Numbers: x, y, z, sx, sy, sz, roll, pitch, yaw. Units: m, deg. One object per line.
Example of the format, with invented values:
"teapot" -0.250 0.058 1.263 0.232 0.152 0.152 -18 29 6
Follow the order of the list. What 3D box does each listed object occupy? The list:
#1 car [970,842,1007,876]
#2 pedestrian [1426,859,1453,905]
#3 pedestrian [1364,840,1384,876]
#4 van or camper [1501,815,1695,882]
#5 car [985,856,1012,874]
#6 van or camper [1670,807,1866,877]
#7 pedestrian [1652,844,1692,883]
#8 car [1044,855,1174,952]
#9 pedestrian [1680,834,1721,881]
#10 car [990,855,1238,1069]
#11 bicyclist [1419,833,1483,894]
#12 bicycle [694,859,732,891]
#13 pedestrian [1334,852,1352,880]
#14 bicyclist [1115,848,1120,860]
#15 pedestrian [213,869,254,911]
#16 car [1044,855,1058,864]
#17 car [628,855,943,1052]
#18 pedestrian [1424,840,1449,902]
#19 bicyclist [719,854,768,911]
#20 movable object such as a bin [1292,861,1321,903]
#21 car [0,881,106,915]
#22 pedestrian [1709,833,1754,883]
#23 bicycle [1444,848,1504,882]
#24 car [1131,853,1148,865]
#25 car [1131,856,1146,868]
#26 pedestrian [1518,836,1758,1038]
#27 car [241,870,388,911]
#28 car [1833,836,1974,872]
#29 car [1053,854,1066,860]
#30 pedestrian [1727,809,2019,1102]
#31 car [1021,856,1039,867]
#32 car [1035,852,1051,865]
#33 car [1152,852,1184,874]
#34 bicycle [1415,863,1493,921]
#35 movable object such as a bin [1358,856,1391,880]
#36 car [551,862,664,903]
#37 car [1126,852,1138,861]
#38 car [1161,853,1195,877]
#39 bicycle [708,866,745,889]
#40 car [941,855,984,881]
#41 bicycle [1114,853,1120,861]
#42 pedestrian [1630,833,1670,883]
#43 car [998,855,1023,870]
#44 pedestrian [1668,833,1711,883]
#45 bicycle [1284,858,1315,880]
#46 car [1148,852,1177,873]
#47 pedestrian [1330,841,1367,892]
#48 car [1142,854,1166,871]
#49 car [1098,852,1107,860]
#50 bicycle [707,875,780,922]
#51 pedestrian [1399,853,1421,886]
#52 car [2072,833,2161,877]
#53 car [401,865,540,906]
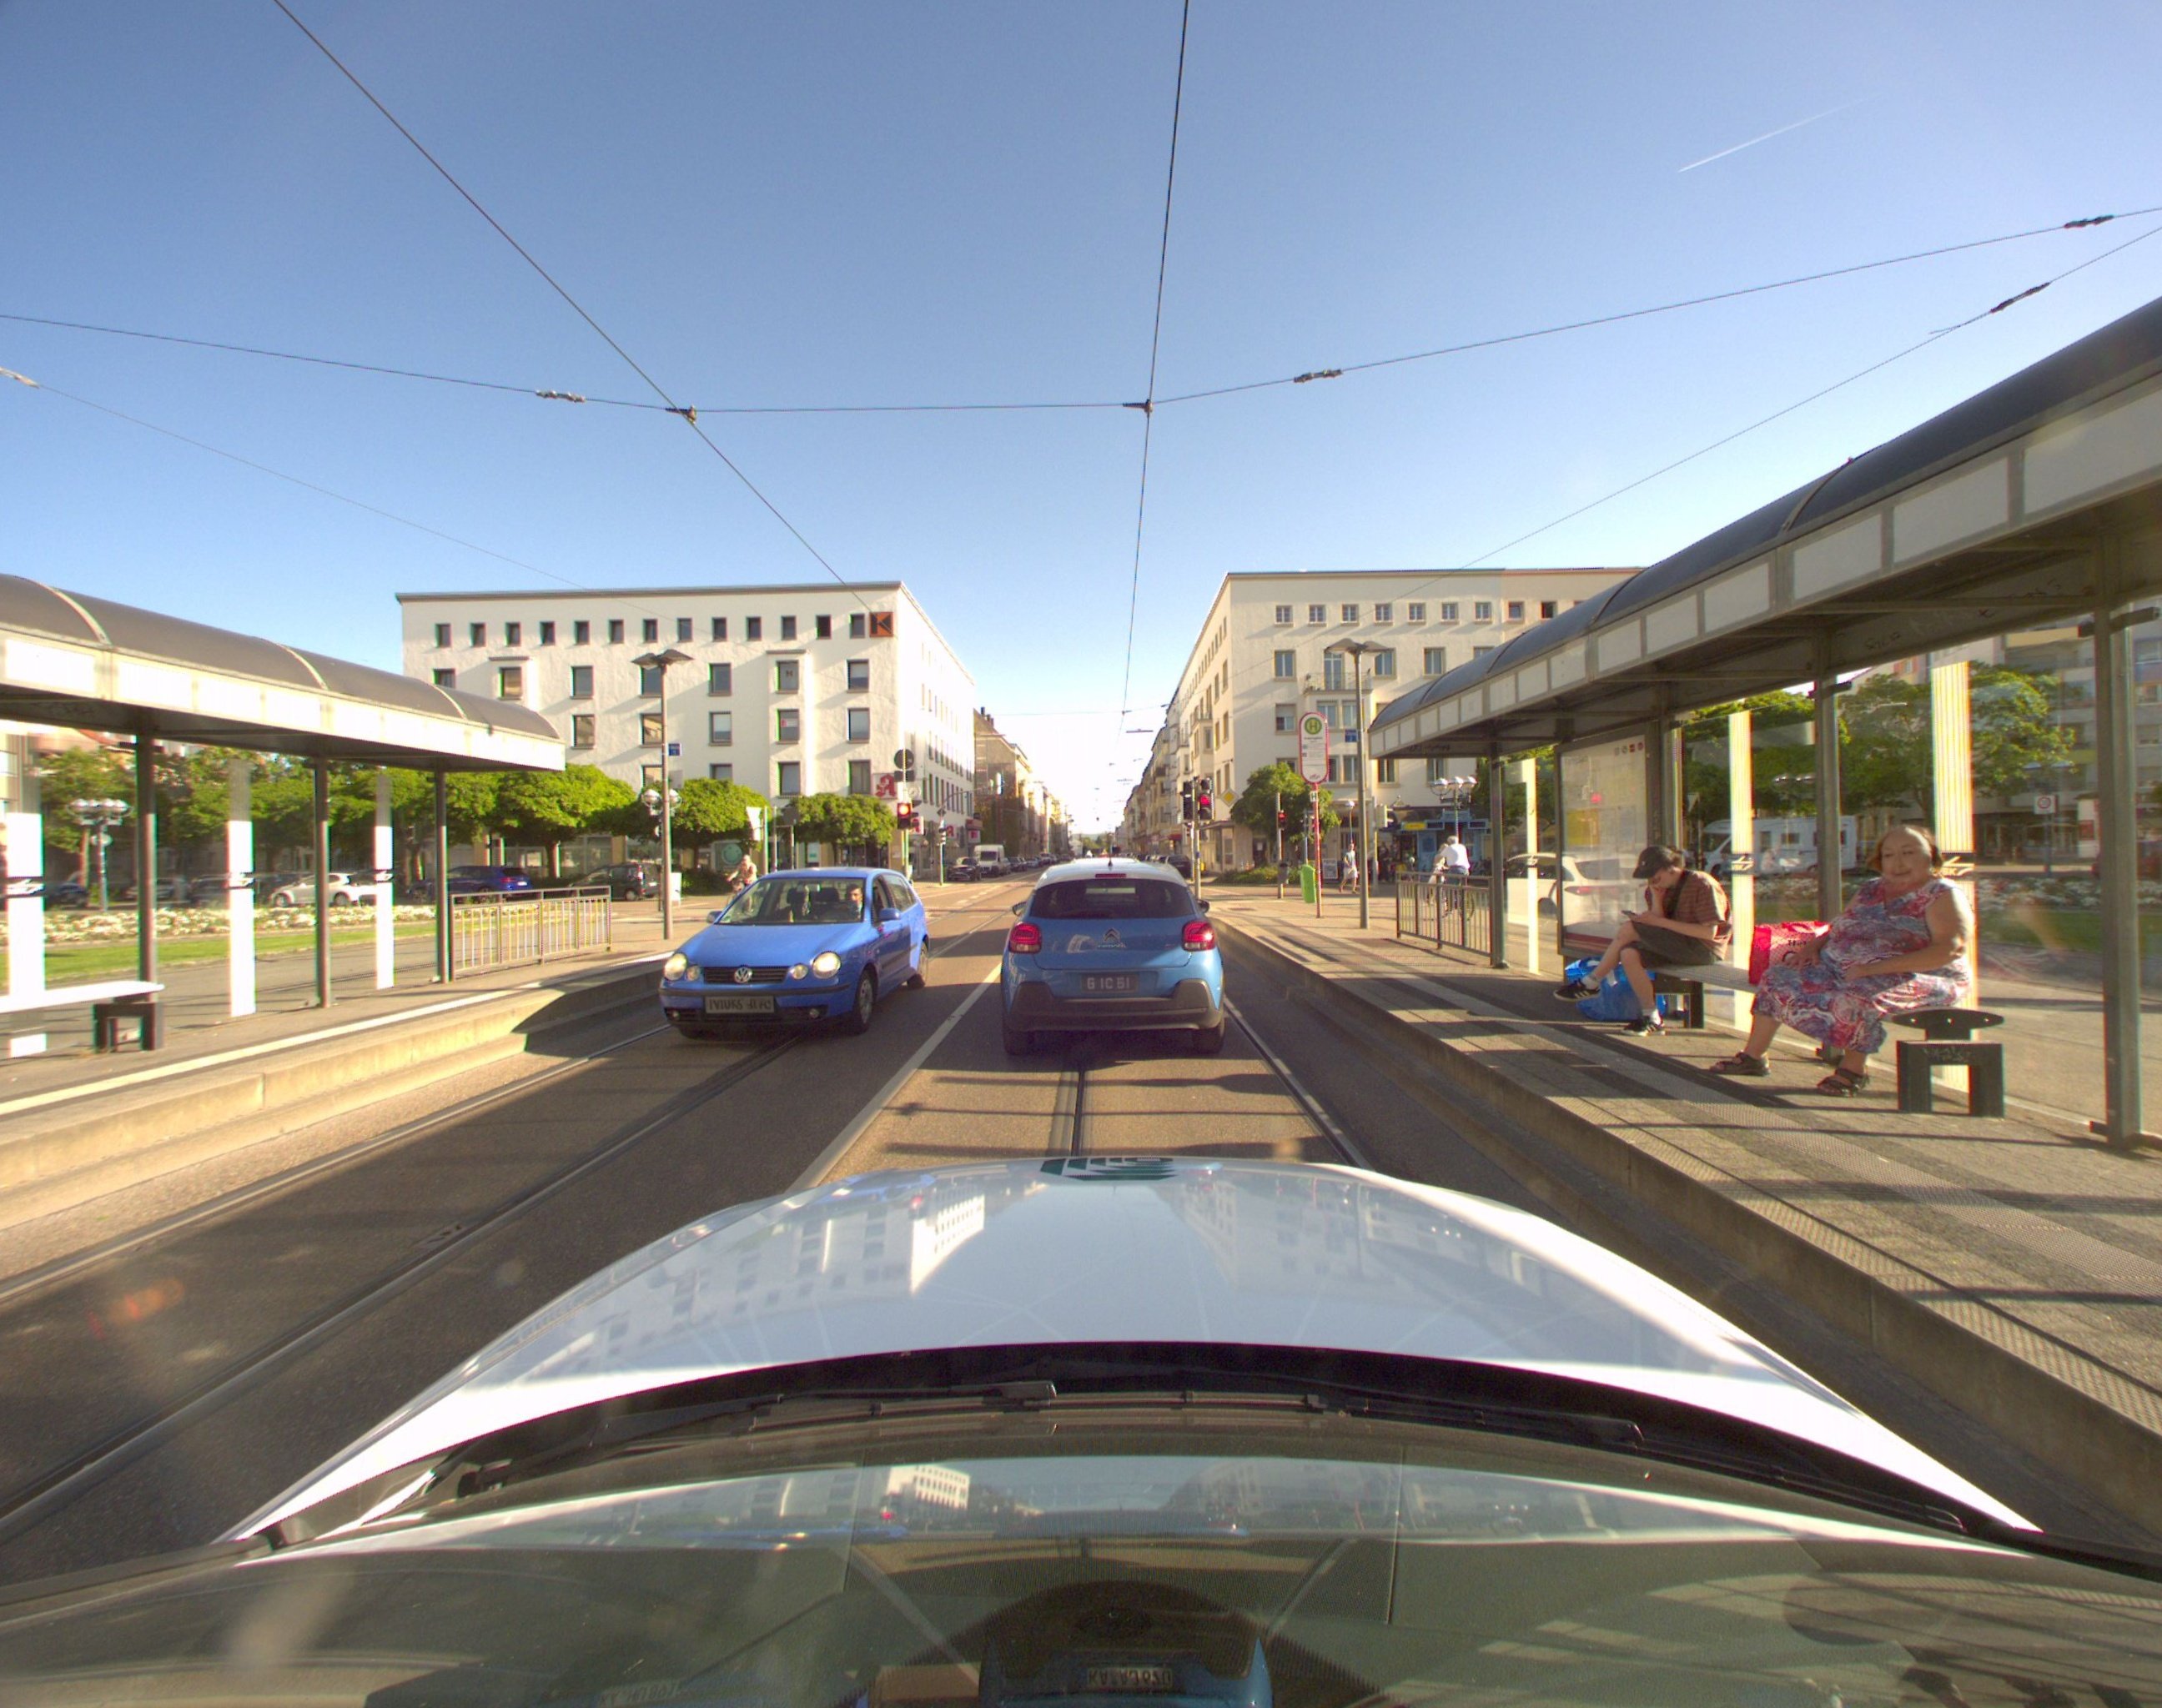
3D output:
"car" -7.120 0.389 63.255 2.078 2.542 6.206 0 0 1
"pedestrian" 9.603 0.742 21.831 0.554 1.225 0.528 0 -1 12
"pedestrian" 15.271 0.206 42.441 0.781 1.839 0.679 -1 0 5
"van or camper" 22.861 -0.267 36.238 7.093 2.747 2.372 -1 1 2
"car" -7.103 0.923 70.106 1.881 1.496 3.562 0 -1 1
"van or camper" 30.124 -0.514 35.913 6.375 2.839 2.381 -1 0 5
"pedestrian" 19.864 0.301 27.393 0.896 1.279 0.606 -1 0 7
"car" 0.495 0.751 14.787 1.977 1.464 4.817 0 0 2
"pedestrian" 21.359 0.119 28.080 0.897 1.585 0.663 -1 0 5
"car" 0.284 0.757 7.607 1.721 1.482 3.828 0 0 2
"bicyclist" 7.640 0.192 16.840 0.946 1.225 0.935 0 0 5
"bicycle" -19.827 1.105 43.953 0.614 1.607 2.625 -1 0 6
"pedestrian" 12.610 0.594 39.168 0.733 1.316 0.631 -1 0 25
"bicyclist" 6.345 -0.042 142.656 0.806 2.014 0.923 0 -1 1
"pedestrian" -37.637 1.578 36.157 0.938 1.817 0.872 -1 0 13
"car" -5.103 0.945 137.183 1.946 1.552 3.942 0 -1 4
"car" -2.653 0.780 8.361 1.661 1.487 4.001 -1 0 1
"pedestrian" 10.058 0.474 23.055 0.554 1.745 0.528 0 -1 12
"bicyclist" -8.833 0.736 21.352 0.822 1.455 0.880 0 -1 12
"movable object such as a bin" 4.355 0.534 15.749 0.447 0.786 0.489 -1 0 4
"car" -52.206 2.186 41.325 1.925 1.494 4.314 0 -1 -27
"pedestrian" 20.980 0.126 26.289 0.897 1.585 0.663 -1 0 5
"bicycle" 17.723 0.484 36.783 2.376 1.531 0.726 0 0 0
"car" 7.349 0.623 102.259 1.986 1.464 4.507 -1 0 2
"car" 7.758 1.017 109.549 1.984 1.552 4.005 -1 0 4
"pedestrian" 3.723 0.519 5.542 0.995 1.225 0.923 2 -1 1
"car" -33.509 1.590 35.684 4.591 1.606 1.855 -1 0 -1
"car" 36.613 0.012 36.358 3.959 1.511 2.007 0 -1 13
"car" -4.856 0.696 185.414 1.981 1.156 4.528 -1 0 11
"pedestrian" 3.944 0.473 4.112 0.855 1.334 0.623 2 -1 1
"car" -6.443 0.933 103.736 1.987 1.325 3.923 0 -1 1
"car" -5.868 0.659 127.397 1.997 2.014 4.694 0 -1 4
"car" 6.086 0.621 57.186 1.986 1.464 4.002 -1 0 2
"bicycle" 7.625 0.741 16.764 0.715 1.061 2.326 0 0 5
"movable object such as a bin" 14.489 0.664 40.253 1.194 1.153 1.218 -1 0 2
"car" -21.240 1.274 36.637 3.973 1.706 1.826 -1 0 1
"car" 8.334 0.377 133.493 1.986 1.464 4.002 -1 0 2
"car" 6.231 0.675 52.602 1.902 1.464 4.002 -1 0 2
"bicycle" -19.103 1.243 43.911 0.615 1.190 2.624 -1 0 5
"car" -7.651 0.900 52.962 1.987 1.569 4.403 2 -1 1
"bicycle" 6.324 0.582 142.685 0.916 1.389 3.133 -1 0 2
"pedestrian" 19.706 0.135 28.216 0.897 1.685 0.696 -1 0 5
"car" -6.729 0.863 78.508 1.987 1.398 4.157 0 -1 1
"pedestrian" 19.829 0.134 26.554 0.897 1.585 0.663 -1 0 5
"bicycle" 11.429 0.791 42.694 1.556 1.120 0.301 0 -1 12
"car" 6.269 0.638 63.152 1.986 1.501 4.002 -1 0 2
"pedestrian" 10.094 0.457 30.806 0.978 1.878 1.128 -1 -1 -1
"car" 6.536 0.751 73.367 1.986 1.464 4.002 -1 0 2
"car" 4.763 0.428 182.054 1.986 1.772 4.002 -1 0 2
"bicycle" -8.817 1.140 21.392 0.723 1.113 1.984 -1 0 14
"pedestrian" 14.891 0.700 36.905 0.727 1.409 0.755 -1 3 2
"car" 38.614 0.011 29.258 3.983 1.486 1.995 -1 0 -7
"car" -27.181 1.374 36.378 4.591 1.662 1.999 -1 0 -1
